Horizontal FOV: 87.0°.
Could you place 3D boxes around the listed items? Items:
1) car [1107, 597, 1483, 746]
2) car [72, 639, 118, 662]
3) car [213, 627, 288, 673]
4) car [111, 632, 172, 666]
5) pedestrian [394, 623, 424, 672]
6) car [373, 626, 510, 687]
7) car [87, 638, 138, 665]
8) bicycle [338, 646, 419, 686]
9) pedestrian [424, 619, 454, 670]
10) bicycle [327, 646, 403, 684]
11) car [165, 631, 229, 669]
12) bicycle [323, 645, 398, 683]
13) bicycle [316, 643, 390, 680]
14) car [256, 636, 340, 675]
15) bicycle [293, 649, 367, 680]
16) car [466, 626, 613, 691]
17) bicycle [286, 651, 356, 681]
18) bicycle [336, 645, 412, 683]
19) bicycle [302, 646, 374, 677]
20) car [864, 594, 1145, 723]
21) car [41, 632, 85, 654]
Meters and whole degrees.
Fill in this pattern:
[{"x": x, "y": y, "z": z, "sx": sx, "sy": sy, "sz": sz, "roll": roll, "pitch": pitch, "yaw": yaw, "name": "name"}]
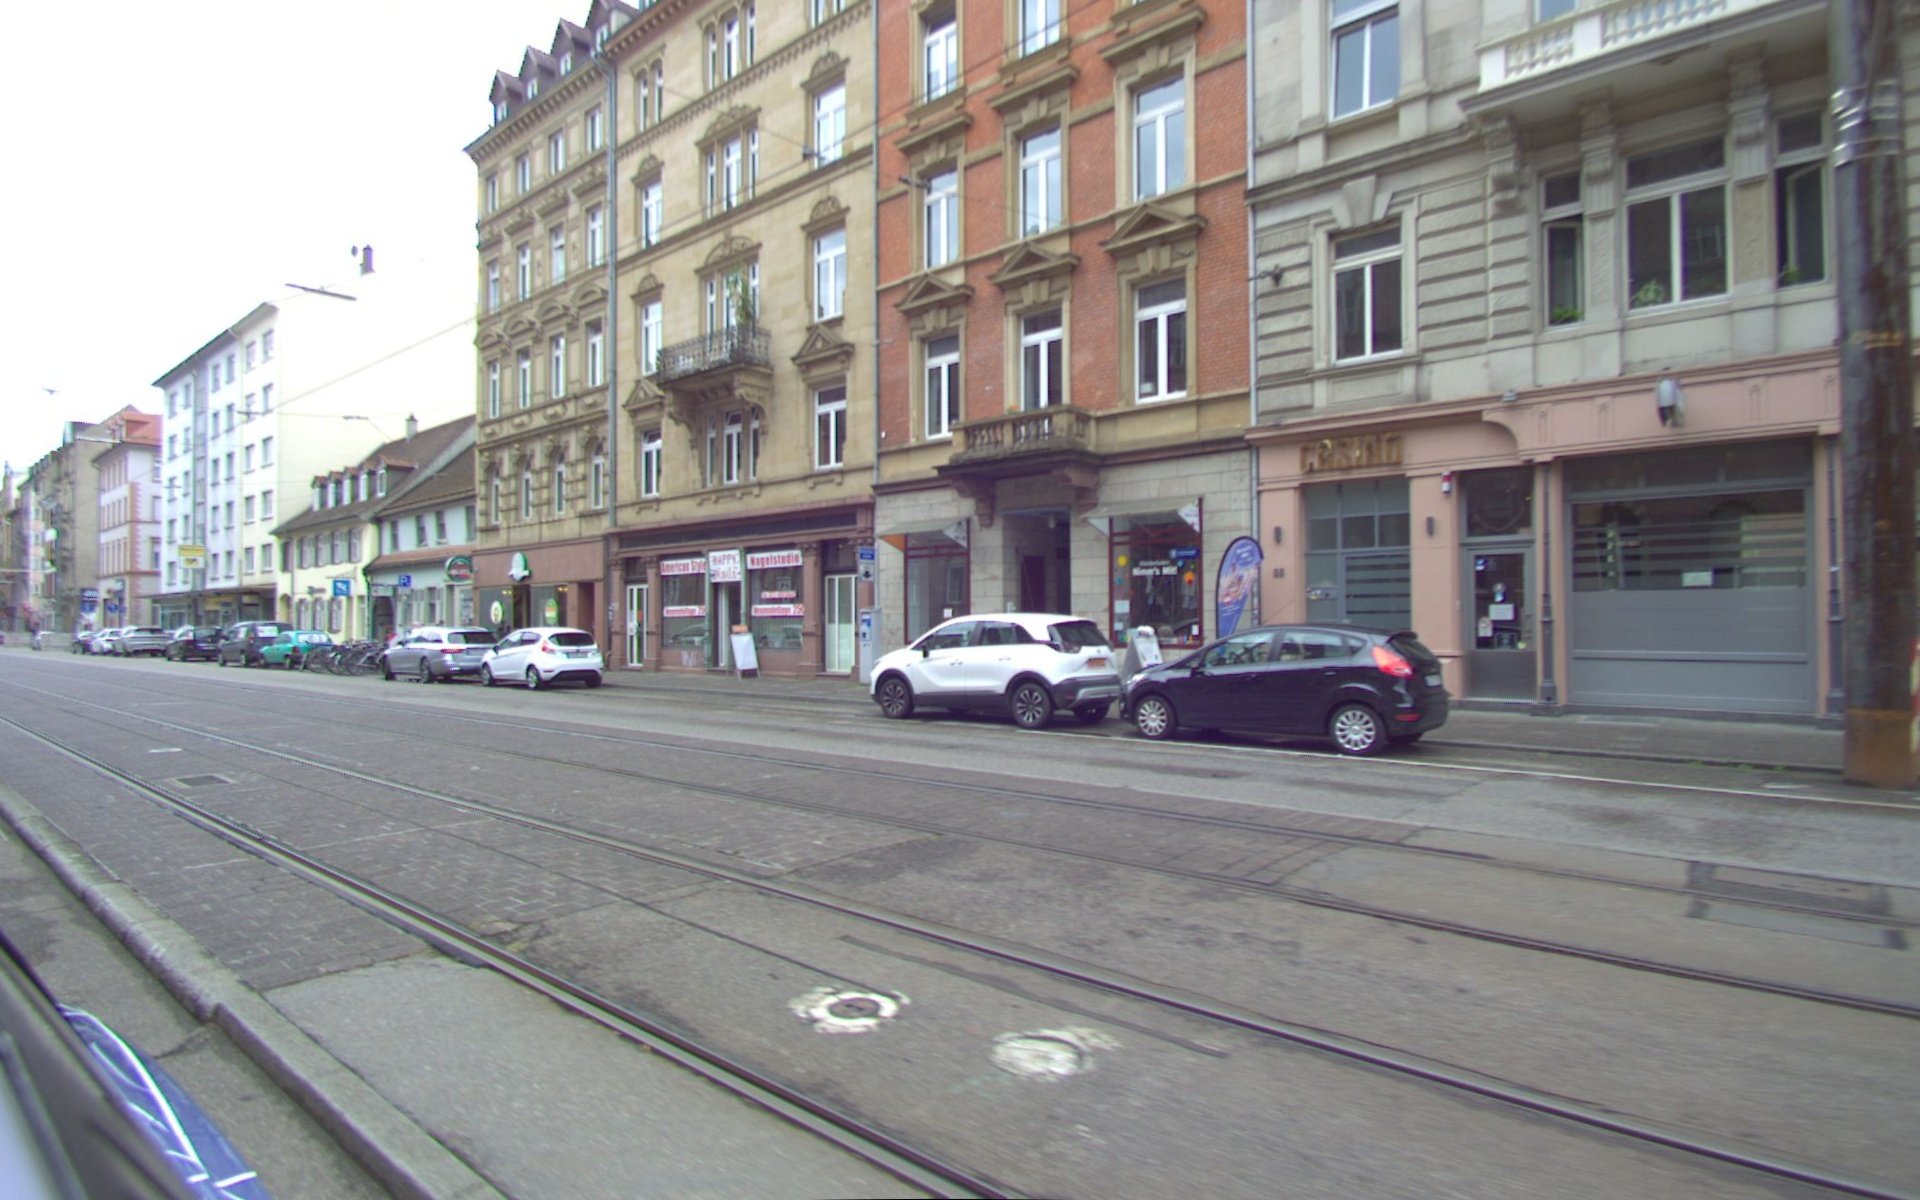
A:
[{"x": 3.901, "y": 0.803, "z": 12.168, "sx": 3.919, "sy": 1.500, "sz": 1.725, "roll": -3, "pitch": -3, "yaw": 42, "name": "car"}, {"x": -54.123, "y": 3.142, "z": 63.326, "sx": 3.245, "sy": 1.353, "sz": 1.710, "roll": -2, "pitch": -1, "yaw": 41, "name": "car"}, {"x": -28.576, "y": 1.999, "z": 40.714, "sx": 3.919, "sy": 1.770, "sz": 1.684, "roll": -2, "pitch": -3, "yaw": 43, "name": "car"}, {"x": -44.320, "y": 2.620, "z": 54.760, "sx": 3.824, "sy": 1.745, "sz": 1.904, "roll": -2, "pitch": -1, "yaw": 41, "name": "car"}, {"x": -18.889, "y": 1.627, "z": 34.689, "sx": 0.727, "sy": 1.629, "sz": 0.648, "roll": -2, "pitch": -1, "yaw": 41, "name": "pedestrian"}, {"x": -14.211, "y": 1.529, "z": 27.635, "sx": 4.543, "sy": 1.533, "sz": 1.805, "roll": -3, "pitch": -4, "yaw": 42, "name": "car"}, {"x": -49.546, "y": 2.984, "z": 59.169, "sx": 3.824, "sy": 1.462, "sz": 1.710, "roll": -2, "pitch": -1, "yaw": 41, "name": "car"}, {"x": -18.090, "y": 2.031, "z": 31.539, "sx": 0.557, "sy": 1.106, "sz": 2.111, "roll": -2, "pitch": -1, "yaw": 42, "name": "bicycle"}, {"x": -18.060, "y": 1.535, "z": 35.073, "sx": 0.753, "sy": 1.725, "sz": 0.648, "roll": -2, "pitch": -1, "yaw": 41, "name": "pedestrian"}, {"x": -19.083, "y": 2.064, "z": 32.506, "sx": 0.557, "sy": 1.106, "sz": 2.017, "roll": -2, "pitch": -1, "yaw": 42, "name": "bicycle"}, {"x": -35.868, "y": 2.321, "z": 47.523, "sx": 4.180, "sy": 1.684, "sz": 1.682, "roll": -2, "pitch": -1, "yaw": 43, "name": "car"}, {"x": -19.520, "y": 2.079, "z": 33.005, "sx": 0.557, "sy": 1.106, "sz": 2.017, "roll": -2, "pitch": -1, "yaw": 42, "name": "bicycle"}, {"x": -20.004, "y": 2.000, "z": 33.371, "sx": 0.557, "sy": 1.106, "sz": 2.017, "roll": -2, "pitch": -1, "yaw": 42, "name": "bicycle"}, {"x": -24.755, "y": 2.054, "z": 37.817, "sx": 3.431, "sy": 1.391, "sz": 1.631, "roll": -3, "pitch": -3, "yaw": 38, "name": "car"}, {"x": -21.683, "y": 2.224, "z": 34.885, "sx": 0.556, "sy": 0.940, "sz": 2.100, "roll": -2, "pitch": -1, "yaw": 38, "name": "bicycle"}, {"x": -10.399, "y": 1.407, "z": 24.911, "sx": 4.043, "sy": 1.476, "sz": 1.725, "roll": -2, "pitch": -3, "yaw": 41, "name": "car"}, {"x": -22.760, "y": 2.340, "z": 36.083, "sx": 0.556, "sy": 0.940, "sz": 2.019, "roll": -2, "pitch": -1, "yaw": 38, "name": "bicycle"}, {"x": -18.572, "y": 2.013, "z": 32.125, "sx": 0.557, "sy": 1.106, "sz": 2.017, "roll": -2, "pitch": -1, "yaw": 42, "name": "bicycle"}, {"x": -21.137, "y": 2.090, "z": 34.431, "sx": 0.557, "sy": 0.940, "sz": 2.017, "roll": -2, "pitch": -1, "yaw": 43, "name": "bicycle"}, {"x": 0.578, "y": 0.857, "z": 15.261, "sx": 4.043, "sy": 1.685, "sz": 1.725, "roll": -2, "pitch": -3, "yaw": 41, "name": "car"}, {"x": -64.833, "y": 3.099, "z": 73.121, "sx": 3.998, "sy": 1.574, "sz": 1.843, "roll": -2, "pitch": -4, "yaw": 42, "name": "car"}]
